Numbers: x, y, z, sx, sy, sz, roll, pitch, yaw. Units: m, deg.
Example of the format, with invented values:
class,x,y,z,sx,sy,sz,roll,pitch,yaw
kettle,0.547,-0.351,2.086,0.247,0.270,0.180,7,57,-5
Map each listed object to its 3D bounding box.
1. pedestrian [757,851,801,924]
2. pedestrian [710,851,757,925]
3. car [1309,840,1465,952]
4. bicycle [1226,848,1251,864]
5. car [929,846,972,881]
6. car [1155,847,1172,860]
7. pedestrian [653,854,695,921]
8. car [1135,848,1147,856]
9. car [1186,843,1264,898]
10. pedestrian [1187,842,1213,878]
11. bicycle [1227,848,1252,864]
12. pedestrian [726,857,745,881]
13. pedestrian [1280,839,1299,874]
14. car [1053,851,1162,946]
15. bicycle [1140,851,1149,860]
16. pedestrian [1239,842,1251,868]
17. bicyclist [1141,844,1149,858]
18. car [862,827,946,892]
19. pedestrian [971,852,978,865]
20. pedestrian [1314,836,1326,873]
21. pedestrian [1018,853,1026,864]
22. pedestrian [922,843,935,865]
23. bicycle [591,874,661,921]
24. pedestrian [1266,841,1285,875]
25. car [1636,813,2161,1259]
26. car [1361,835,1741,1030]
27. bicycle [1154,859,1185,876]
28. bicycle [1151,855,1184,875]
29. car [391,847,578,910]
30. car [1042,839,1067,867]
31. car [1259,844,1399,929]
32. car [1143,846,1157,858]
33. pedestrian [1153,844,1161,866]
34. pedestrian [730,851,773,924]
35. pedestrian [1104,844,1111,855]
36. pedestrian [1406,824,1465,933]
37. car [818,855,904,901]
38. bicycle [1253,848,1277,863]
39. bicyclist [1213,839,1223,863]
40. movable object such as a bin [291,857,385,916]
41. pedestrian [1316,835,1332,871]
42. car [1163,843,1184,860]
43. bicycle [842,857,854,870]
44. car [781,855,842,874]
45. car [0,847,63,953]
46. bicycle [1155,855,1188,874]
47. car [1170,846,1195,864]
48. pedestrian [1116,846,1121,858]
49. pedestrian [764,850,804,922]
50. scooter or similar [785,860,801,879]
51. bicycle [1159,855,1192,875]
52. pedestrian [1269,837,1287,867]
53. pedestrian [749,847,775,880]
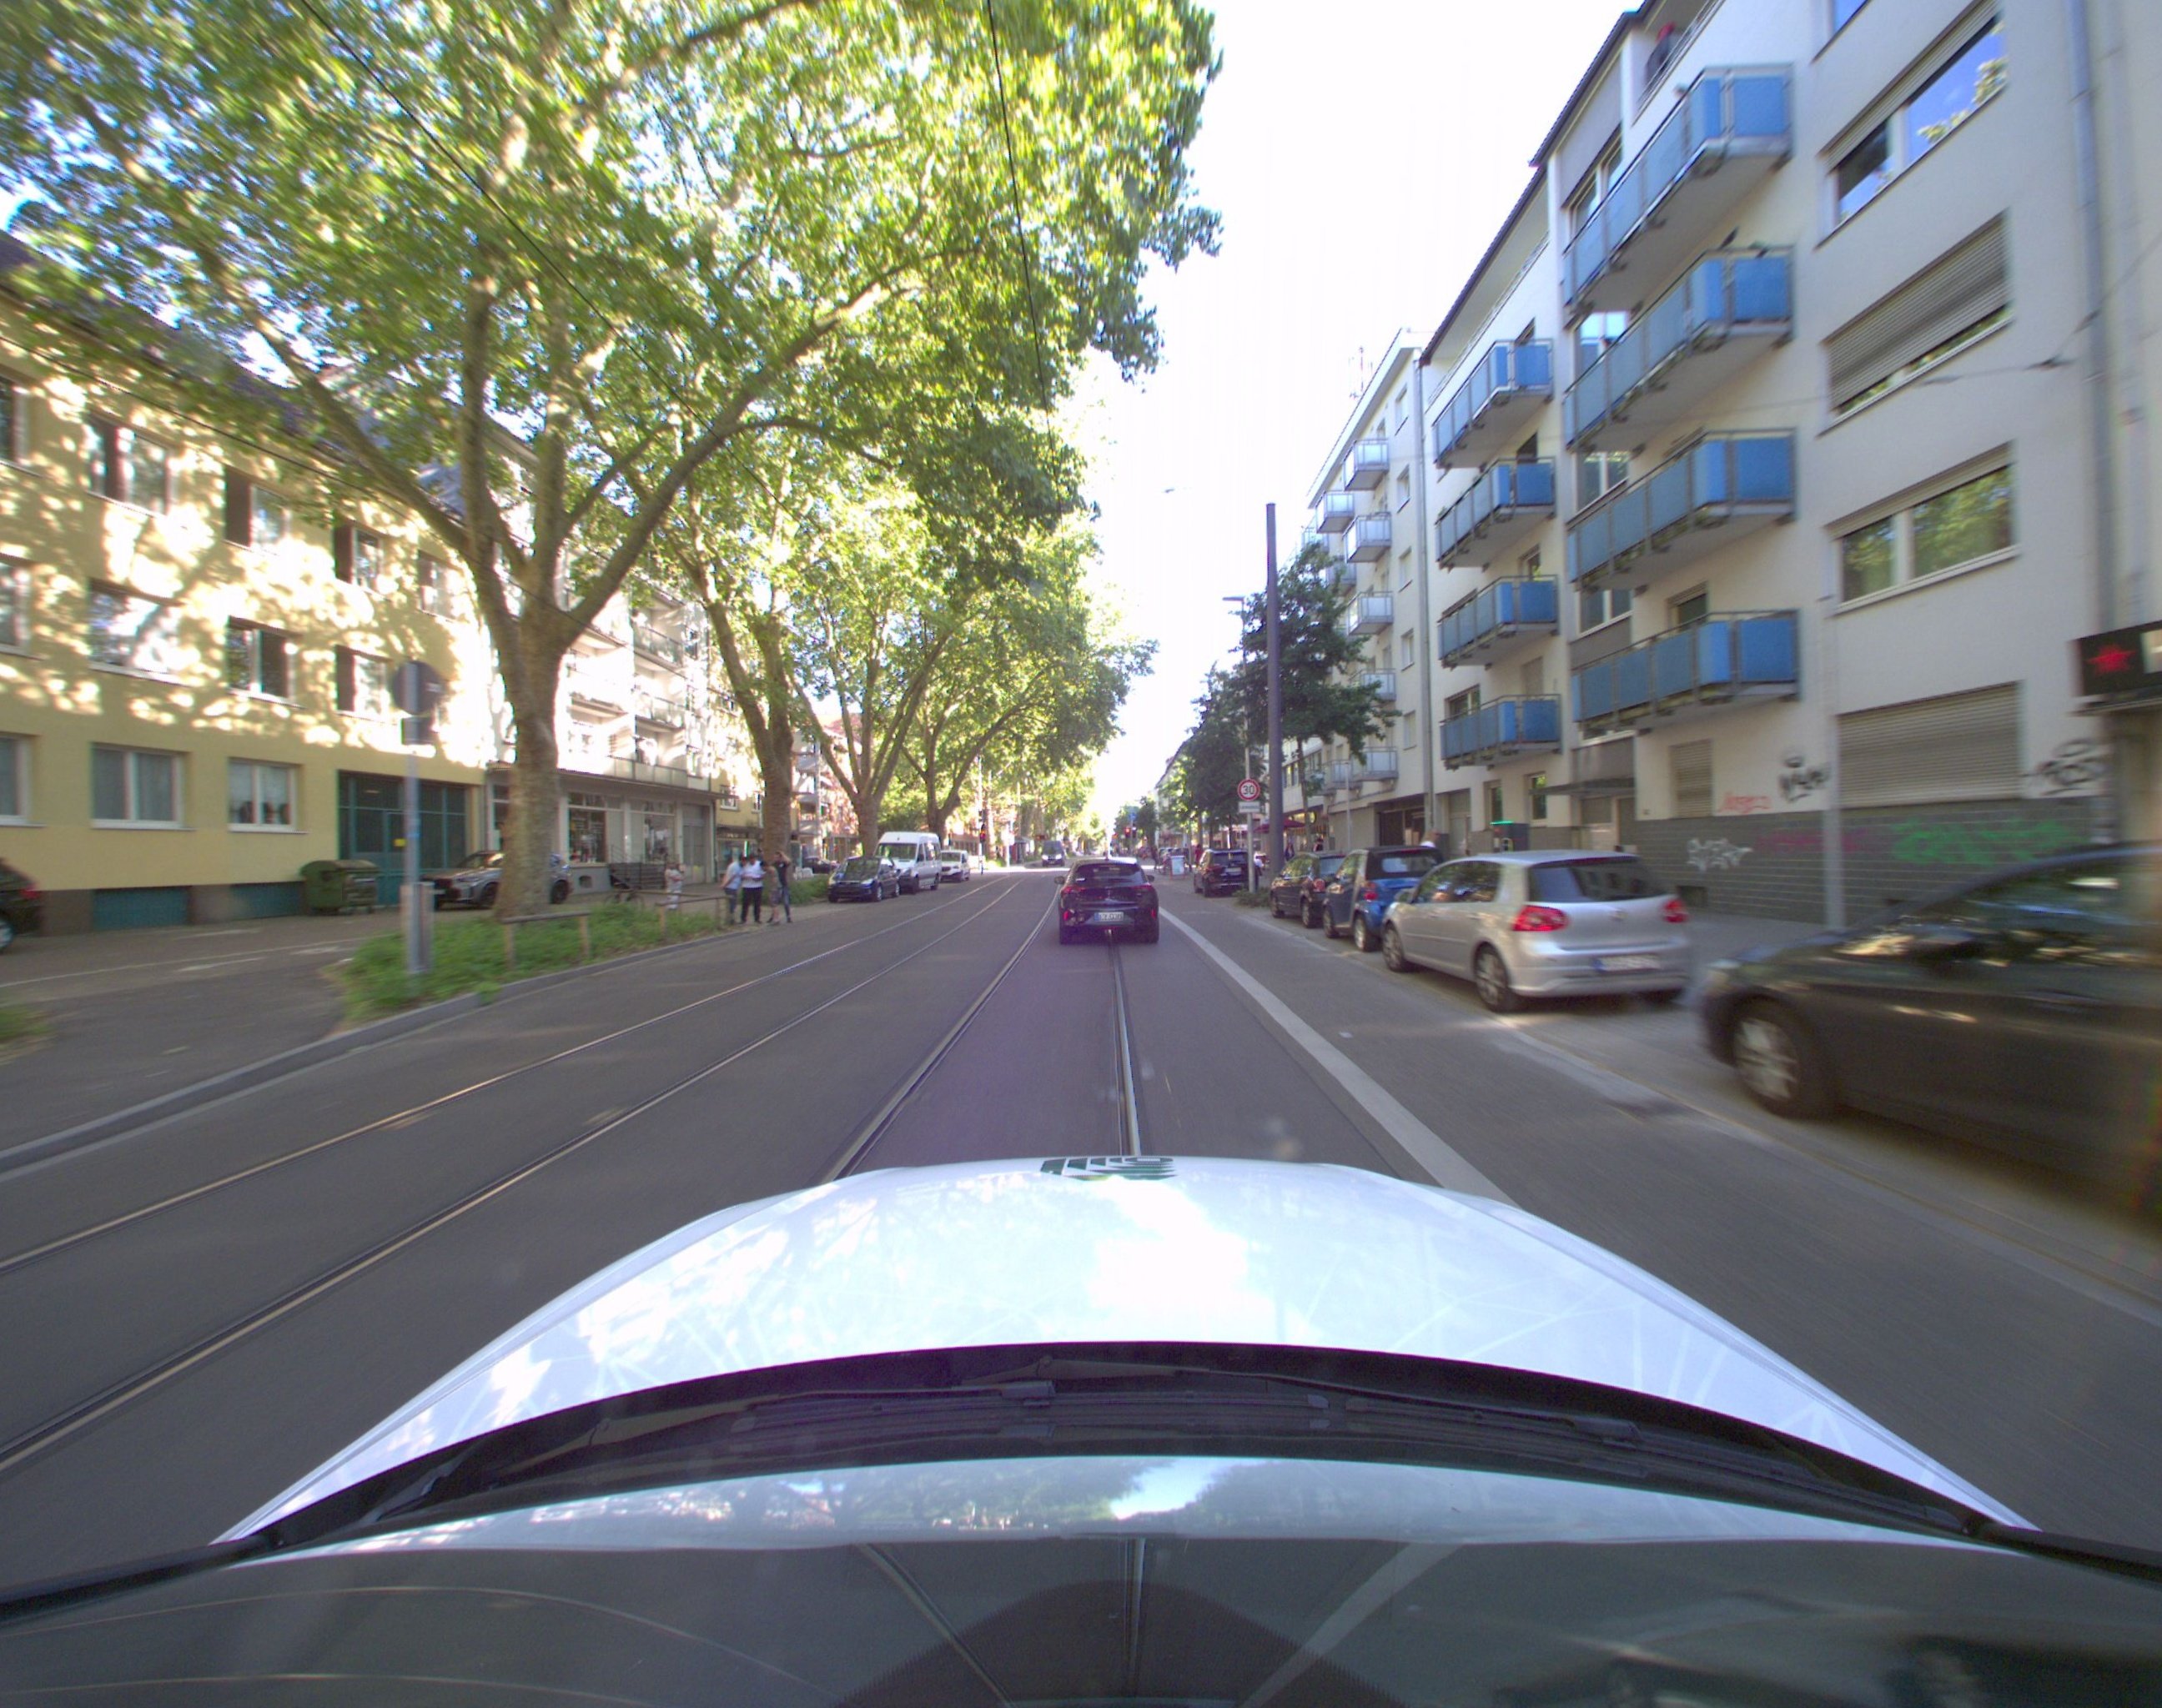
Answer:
class,x,y,z,sx,sy,sz,roll,pitch,yaw
pedestrian,-7.314,0.793,19.724,0.775,1.735,0.705,0,-1,-45
pedestrian,-8.307,0.801,19.483,0.764,1.735,0.718,-1,0,5
car,4.832,0.600,13.231,1.439,1.537,2.882,-3,0,1
bicycle,13.096,0.172,67.788,1.909,1.207,0.510,-2,0,-3
car,-7.329,0.522,46.181,1.757,1.850,4.317,0,0,0
car,10.084,-0.076,99.793,1.850,1.615,4.399,-1,0,2
pedestrian,-10.084,0.819,20.167,0.761,1.610,0.718,-1,-1,43
car,11.249,-0.370,153.212,1.986,1.486,4.002,-1,0,2
car,4.827,0.531,27.837,1.754,1.587,4.327,-5,0,-1
pedestrian,6.013,0.296,41.229,1.046,1.758,0.874,0,0,-15
bicycle,13.103,0.173,67.254,1.909,1.207,0.511,-2,1,-3
pedestrian,-18.663,0.813,43.965,0.667,1.272,0.648,-1,0,24
pedestrian,10.289,0.145,40.195,0.594,1.677,0.934,-4,0,-1
car,0.417,0.724,14.997,1.754,1.508,3.682,-1,0,0
bicycle,8.345,0.188,106.661,0.859,1.136,2.392,0,0,-4
pedestrian,11.294,0.093,56.129,0.588,1.784,0.995,0,0,0
bicyclist,8.340,-0.422,106.593,0.859,1.759,1.052,0,0,-5
car,-7.570,0.245,35.566,2.099,2.577,6.028,-1,0,3
pedestrian,-13.564,0.608,103.340,0.732,1.672,0.861,0,0,2
pedestrian,11.701,0.012,39.821,0.430,1.796,0.489,0,0,0
pedestrian,-6.374,0.492,87.995,0.703,1.168,0.659,-2,0,-2
pedestrian,-13.081,-0.022,69.905,0.921,1.835,0.919,0,2,-2
bicycle,-11.078,1.038,19.816,1.828,1.080,0.572,-1,0,28
pedestrian,9.617,0.206,40.213,0.640,1.637,0.869,-3,0,0
car,4.711,0.630,3.395,1.715,1.571,4.256,-4,0,-2
car,4.679,0.645,8.946,1.780,1.537,4.129,-4,0,1
bicycle,5.264,0.780,48.592,1.810,0.994,0.481,0,0,-1
bicycle,4.944,0.613,46.524,1.809,1.100,0.525,-2,0,0
car,-18.071,0.683,25.040,1.986,1.733,4.900,-1,0,2
car,-2.729,-0.115,84.187,2.106,2.738,6.117,-2,0,2
car,5.035,0.588,17.060,1.618,1.481,3.888,-4,0,-1
car,11.323,-0.265,134.193,1.986,1.952,4.001,0,0,1
pedestrian,5.553,0.083,59.528,0.548,1.562,0.646,-1,-1,6
pedestrian,-8.051,0.800,19.914,0.761,1.735,0.718,-1,-1,43
pedestrian,4.302,-0.753,132.956,0.742,1.709,0.768,-1,-1,36
pedestrian,6.354,0.433,14.621,0.476,1.851,0.661,-8,0,-11
car,-7.867,0.813,29.579,1.910,1.562,4.284,0,0,1
bicycle,15.239,0.119,67.386,1.909,1.207,0.511,-1,1,-3
bicyclist,9.923,-0.246,58.998,0.674,1.717,0.966,-1,0,4
movable object such as a bin,-19.598,0.832,21.520,1.226,1.502,1.343,0,0,0
pedestrian,12.245,-0.038,41.038,0.520,1.805,0.635,-1,-1,44
car,9.537,-0.249,84.146,1.793,1.606,4.417,-1,0,2
bicycle,-20.863,0.873,72.950,0.539,1.084,1.639,0,2,0
car,-22.152,0.843,67.048,4.425,1.456,1.996,2,0,-7
car,-18.744,0.754,11.782,1.985,1.736,4.700,-1,0,3
bicycle,5.315,0.606,47.790,1.813,1.100,0.496,0,0,-7
car,9.523,0.097,76.672,1.986,1.615,4.447,2,0,2
pedestrian,5.214,-0.279,113.955,0.628,1.576,0.871,1,0,2
pedestrian,-7.483,0.797,20.521,0.709,1.777,0.771,0,0,1
scooter or similar,-17.939,0.946,50.668,0.636,1.167,0.679,-1,0,28
bicycle,5.481,0.638,47.243,1.813,1.100,0.480,0,0,-7
pedestrian,10.954,-0.115,45.372,0.678,1.659,0.810,0,0,-13
pedestrian,-18.435,0.556,47.086,1.104,1.864,1.058,0,0,-2
